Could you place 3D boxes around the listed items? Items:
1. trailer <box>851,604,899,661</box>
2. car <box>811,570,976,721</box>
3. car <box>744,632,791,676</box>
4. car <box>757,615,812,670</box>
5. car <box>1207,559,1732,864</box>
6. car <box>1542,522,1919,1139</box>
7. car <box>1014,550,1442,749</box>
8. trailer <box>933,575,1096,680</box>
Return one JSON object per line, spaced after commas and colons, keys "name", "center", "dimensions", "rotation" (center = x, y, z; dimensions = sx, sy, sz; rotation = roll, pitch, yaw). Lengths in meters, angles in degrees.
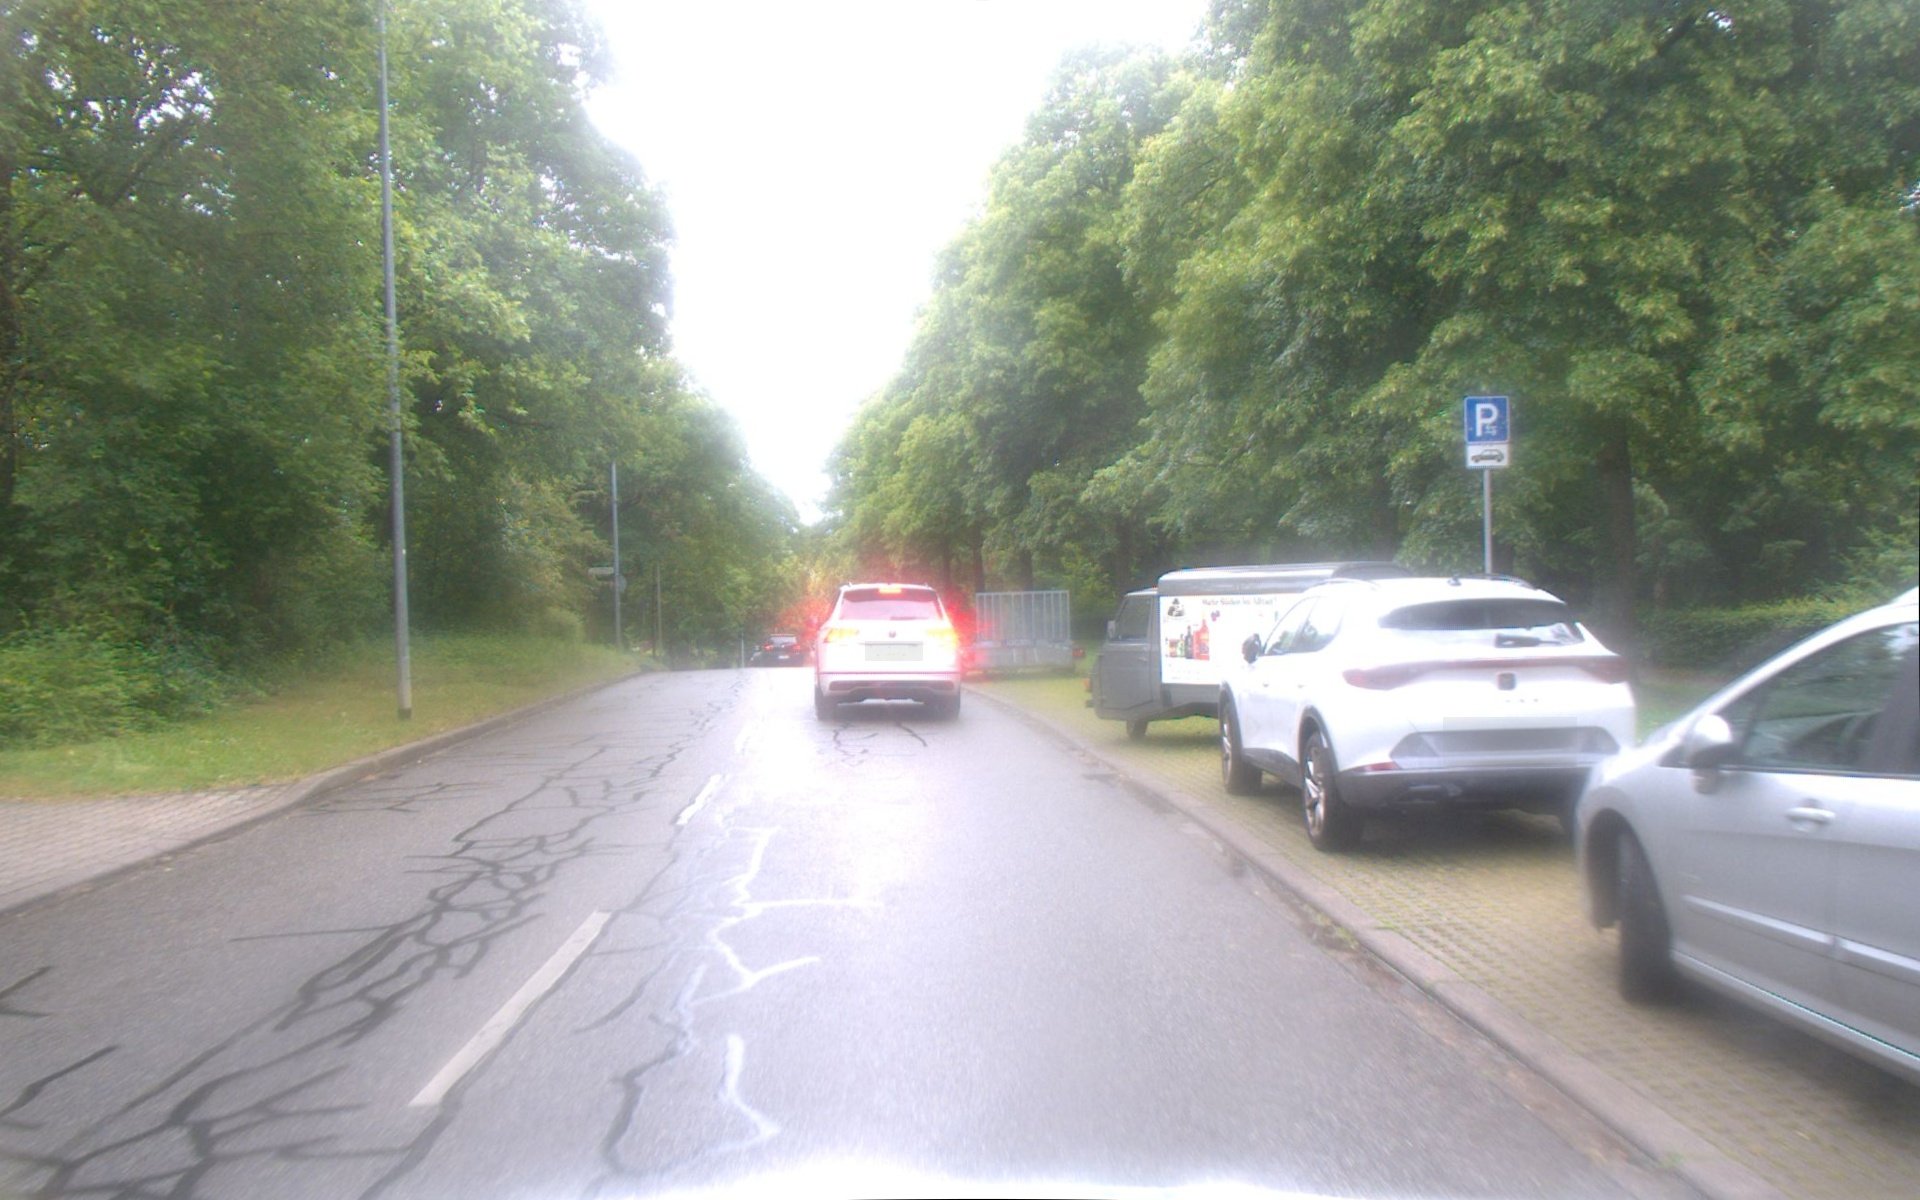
{"name": "trailer", "center": [-3.382, 1.321, 65.301], "dimensions": [1.501, 2.112, 3.992], "rotation": [-3, -2, -8]}
{"name": "car", "center": [-0.976, 0.555, 21.793], "dimensions": [1.868, 1.715, 4.195], "rotation": [-2, 0, -6]}
{"name": "car", "center": [-10.432, 2.872, 89.472], "dimensions": [1.960, 2.048, 3.985], "rotation": [-2, 2, -15]}
{"name": "car", "center": [-7.486, 1.770, 70.294], "dimensions": [1.958, 2.048, 3.990], "rotation": [-1, 2, -11]}
{"name": "car", "center": [3.013, 0.548, 10.933], "dimensions": [1.953, 1.523, 4.566], "rotation": [-2, 1, -1]}
{"name": "car", "center": [3.309, 0.561, 4.593], "dimensions": [1.768, 1.565, 4.267], "rotation": [-1, 2, -2]}
{"name": "car", "center": [2.518, 0.485, 16.257], "dimensions": [1.599, 1.710, 3.942], "rotation": [-2, -1, -44]}
{"name": "trailer", "center": [0.964, 0.571, 33.601], "dimensions": [2.403, 1.844, 5.882], "rotation": [-2, -1, -7]}
